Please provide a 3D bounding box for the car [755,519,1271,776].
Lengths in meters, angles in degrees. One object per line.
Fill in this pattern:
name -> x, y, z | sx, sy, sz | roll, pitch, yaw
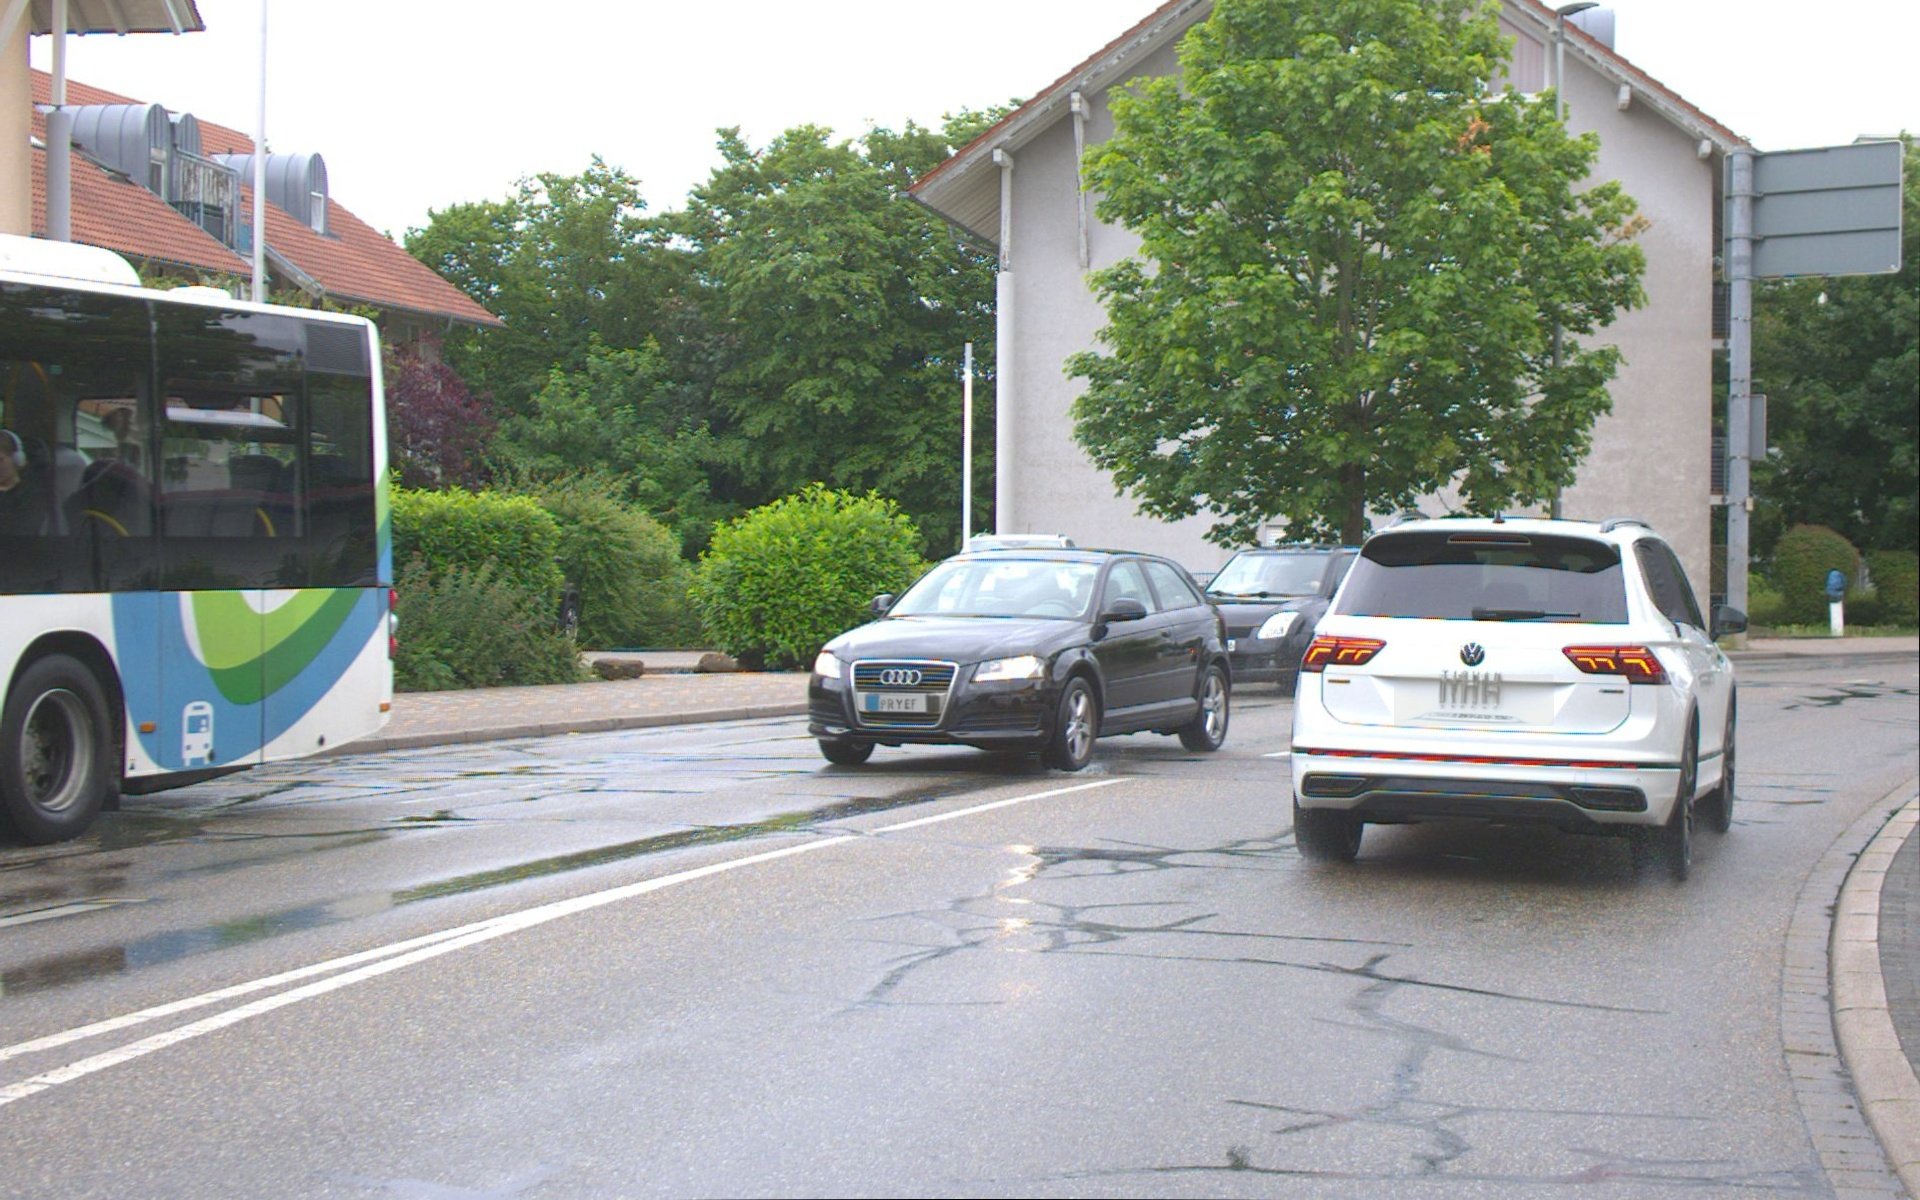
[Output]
car -> 0.470, 0.253, 23.051 | 1.862, 1.513, 4.287 | 2, 1, 25

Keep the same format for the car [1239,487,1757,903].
car -> 2.808, 0.355, 17.108 | 1.922, 1.716, 4.262 | 3, 2, 17

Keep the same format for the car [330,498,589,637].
car -> -6.515, -0.394, 45.179 | 1.995, 1.645, 3.997 | 2, -1, 13

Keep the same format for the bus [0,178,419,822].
bus -> -5.746, -0.450, 16.187 | 2.588, 2.990, 8.398 | -1, 1, 19

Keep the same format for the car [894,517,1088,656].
car -> 0.450, -0.142, 44.390 | 1.994, 1.645, 3.999 | 2, -1, 7

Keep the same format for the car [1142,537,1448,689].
car -> 3.415, 0.092, 34.523 | 1.590, 1.417, 3.688 | 0, 1, 32

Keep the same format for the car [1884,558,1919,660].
car -> 15.249, 0.117, 49.129 | 4.477, 1.386, 1.907 | -1, 3, -45
